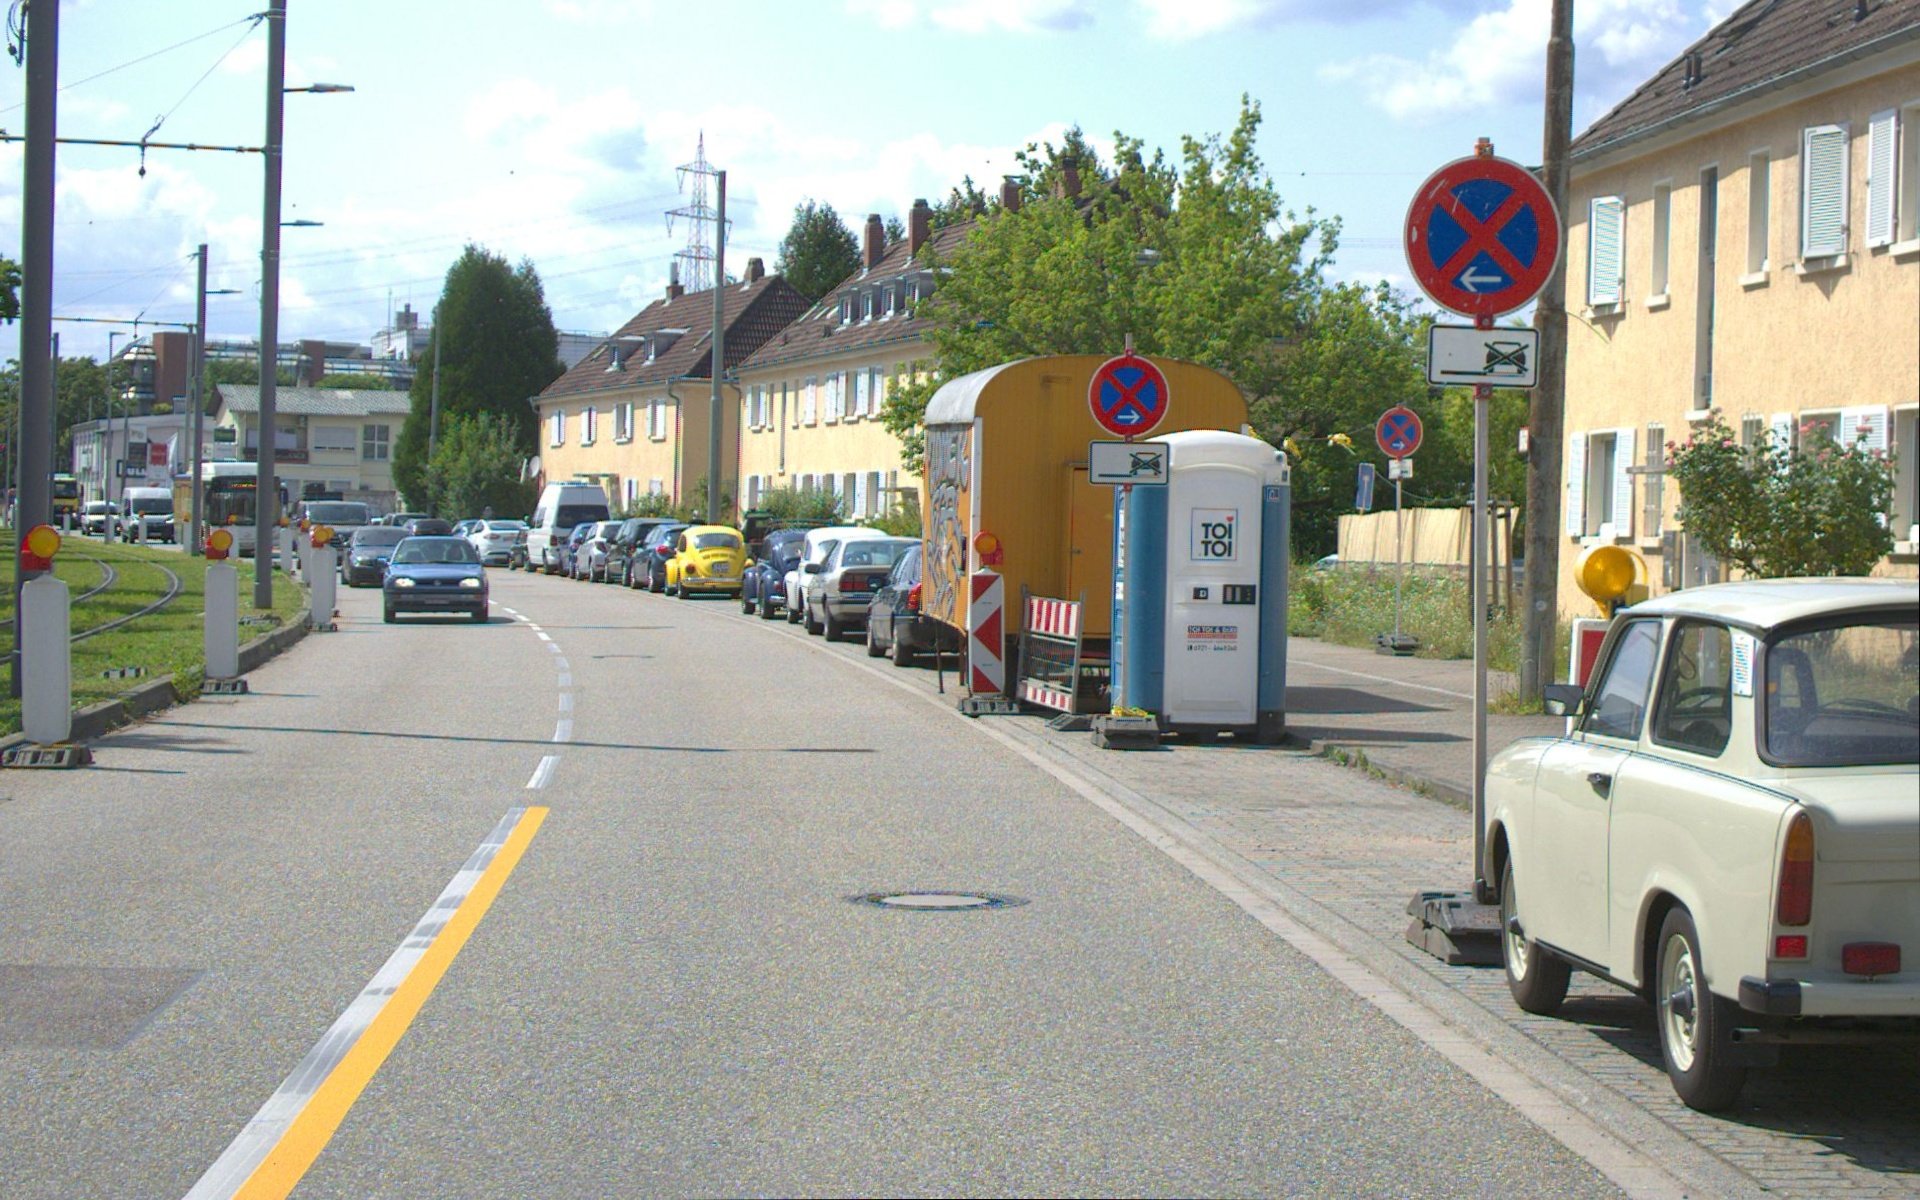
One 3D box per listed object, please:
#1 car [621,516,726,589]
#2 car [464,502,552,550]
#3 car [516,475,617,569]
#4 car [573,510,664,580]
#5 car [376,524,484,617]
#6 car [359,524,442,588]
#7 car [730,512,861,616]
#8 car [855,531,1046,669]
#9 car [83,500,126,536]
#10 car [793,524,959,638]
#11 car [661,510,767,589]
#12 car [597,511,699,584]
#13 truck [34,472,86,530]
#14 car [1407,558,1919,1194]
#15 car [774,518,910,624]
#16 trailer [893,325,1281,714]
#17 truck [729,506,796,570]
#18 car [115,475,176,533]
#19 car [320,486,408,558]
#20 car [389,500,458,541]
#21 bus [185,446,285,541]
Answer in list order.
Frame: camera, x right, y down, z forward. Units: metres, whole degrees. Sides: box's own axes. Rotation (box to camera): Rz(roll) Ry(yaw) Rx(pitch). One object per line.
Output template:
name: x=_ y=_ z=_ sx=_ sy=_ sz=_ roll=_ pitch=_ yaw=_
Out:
car: x=-6.295 y=-1.056 z=75.247 sx=1.635 sy=1.477 sz=4.126 roll=2 pitch=1 yaw=-14
car: x=-14.059 y=-2.285 z=106.785 sx=1.798 sy=1.453 sz=4.767 roll=-1 pitch=1 yaw=-19
car: x=-10.843 y=-2.146 z=94.412 sx=1.929 sy=2.472 sz=5.519 roll=0 pitch=1 yaw=-15
car: x=-8.410 y=-1.373 z=84.505 sx=1.635 sy=1.597 sz=4.031 roll=2 pitch=1 yaw=-14
car: x=-8.690 y=-0.512 z=56.497 sx=1.665 sy=1.444 sz=3.961 roll=-1 pitch=2 yaw=-8
car: x=-12.974 y=-1.027 z=79.616 sx=1.724 sy=1.384 sz=4.123 roll=1 pitch=1 yaw=-11
car: x=-2.811 y=-0.630 z=57.920 sx=1.548 sy=1.635 sz=4.248 roll=2 pitch=1 yaw=-11
car: x=-0.167 y=-0.043 z=39.994 sx=1.577 sy=1.444 sz=4.454 roll=2 pitch=1 yaw=-8
car: x=-44.900 y=-4.320 z=180.357 sx=1.734 sy=1.767 sz=4.310 roll=2 pitch=1 yaw=-20
car: x=-1.224 y=-0.306 z=47.808 sx=1.706 sy=1.444 sz=4.836 roll=2 pitch=1 yaw=-8
car: x=-5.038 y=-1.052 z=70.117 sx=1.636 sy=1.477 sz=3.933 roll=-1 pitch=3 yaw=-12
car: x=-7.343 y=-1.246 z=80.673 sx=1.635 sy=1.597 sz=3.933 roll=2 pitch=1 yaw=-16
truck: x=-54.997 y=-6.071 z=210.043 sx=2.559 sy=3.447 sz=7.152 roll=-1 pitch=2 yaw=-19
car: x=2.492 y=0.649 z=10.358 sx=1.463 sy=1.497 sz=4.110 roll=1 pitch=1 yaw=-4
car: x=-1.855 y=-0.471 z=52.866 sx=1.577 sy=1.507 sz=4.461 roll=2 pitch=1 yaw=-8
trailer: x=1.032 y=-0.735 z=31.633 sx=2.689 sy=3.215 sz=5.083 roll=2 pitch=1 yaw=-7
truck: x=-5.368 y=-1.694 z=93.268 sx=1.346 sy=1.683 sz=2.442 roll=1 pitch=1 yaw=-14
car: x=-36.134 y=-4.265 z=152.453 sx=2.102 sy=2.435 sz=5.573 roll=1 pitch=1 yaw=-19
car: x=-16.818 y=-2.219 z=96.883 sx=1.955 sy=1.959 sz=5.295 roll=1 pitch=1 yaw=-15
car: x=-18.816 y=-2.809 z=120.450 sx=1.763 sy=1.412 sz=4.001 roll=-1 pitch=2 yaw=-18
bus: x=-27.227 y=-3.983 z=128.745 sx=2.635 sy=3.400 sz=12.253 roll=0 pitch=2 yaw=-17
